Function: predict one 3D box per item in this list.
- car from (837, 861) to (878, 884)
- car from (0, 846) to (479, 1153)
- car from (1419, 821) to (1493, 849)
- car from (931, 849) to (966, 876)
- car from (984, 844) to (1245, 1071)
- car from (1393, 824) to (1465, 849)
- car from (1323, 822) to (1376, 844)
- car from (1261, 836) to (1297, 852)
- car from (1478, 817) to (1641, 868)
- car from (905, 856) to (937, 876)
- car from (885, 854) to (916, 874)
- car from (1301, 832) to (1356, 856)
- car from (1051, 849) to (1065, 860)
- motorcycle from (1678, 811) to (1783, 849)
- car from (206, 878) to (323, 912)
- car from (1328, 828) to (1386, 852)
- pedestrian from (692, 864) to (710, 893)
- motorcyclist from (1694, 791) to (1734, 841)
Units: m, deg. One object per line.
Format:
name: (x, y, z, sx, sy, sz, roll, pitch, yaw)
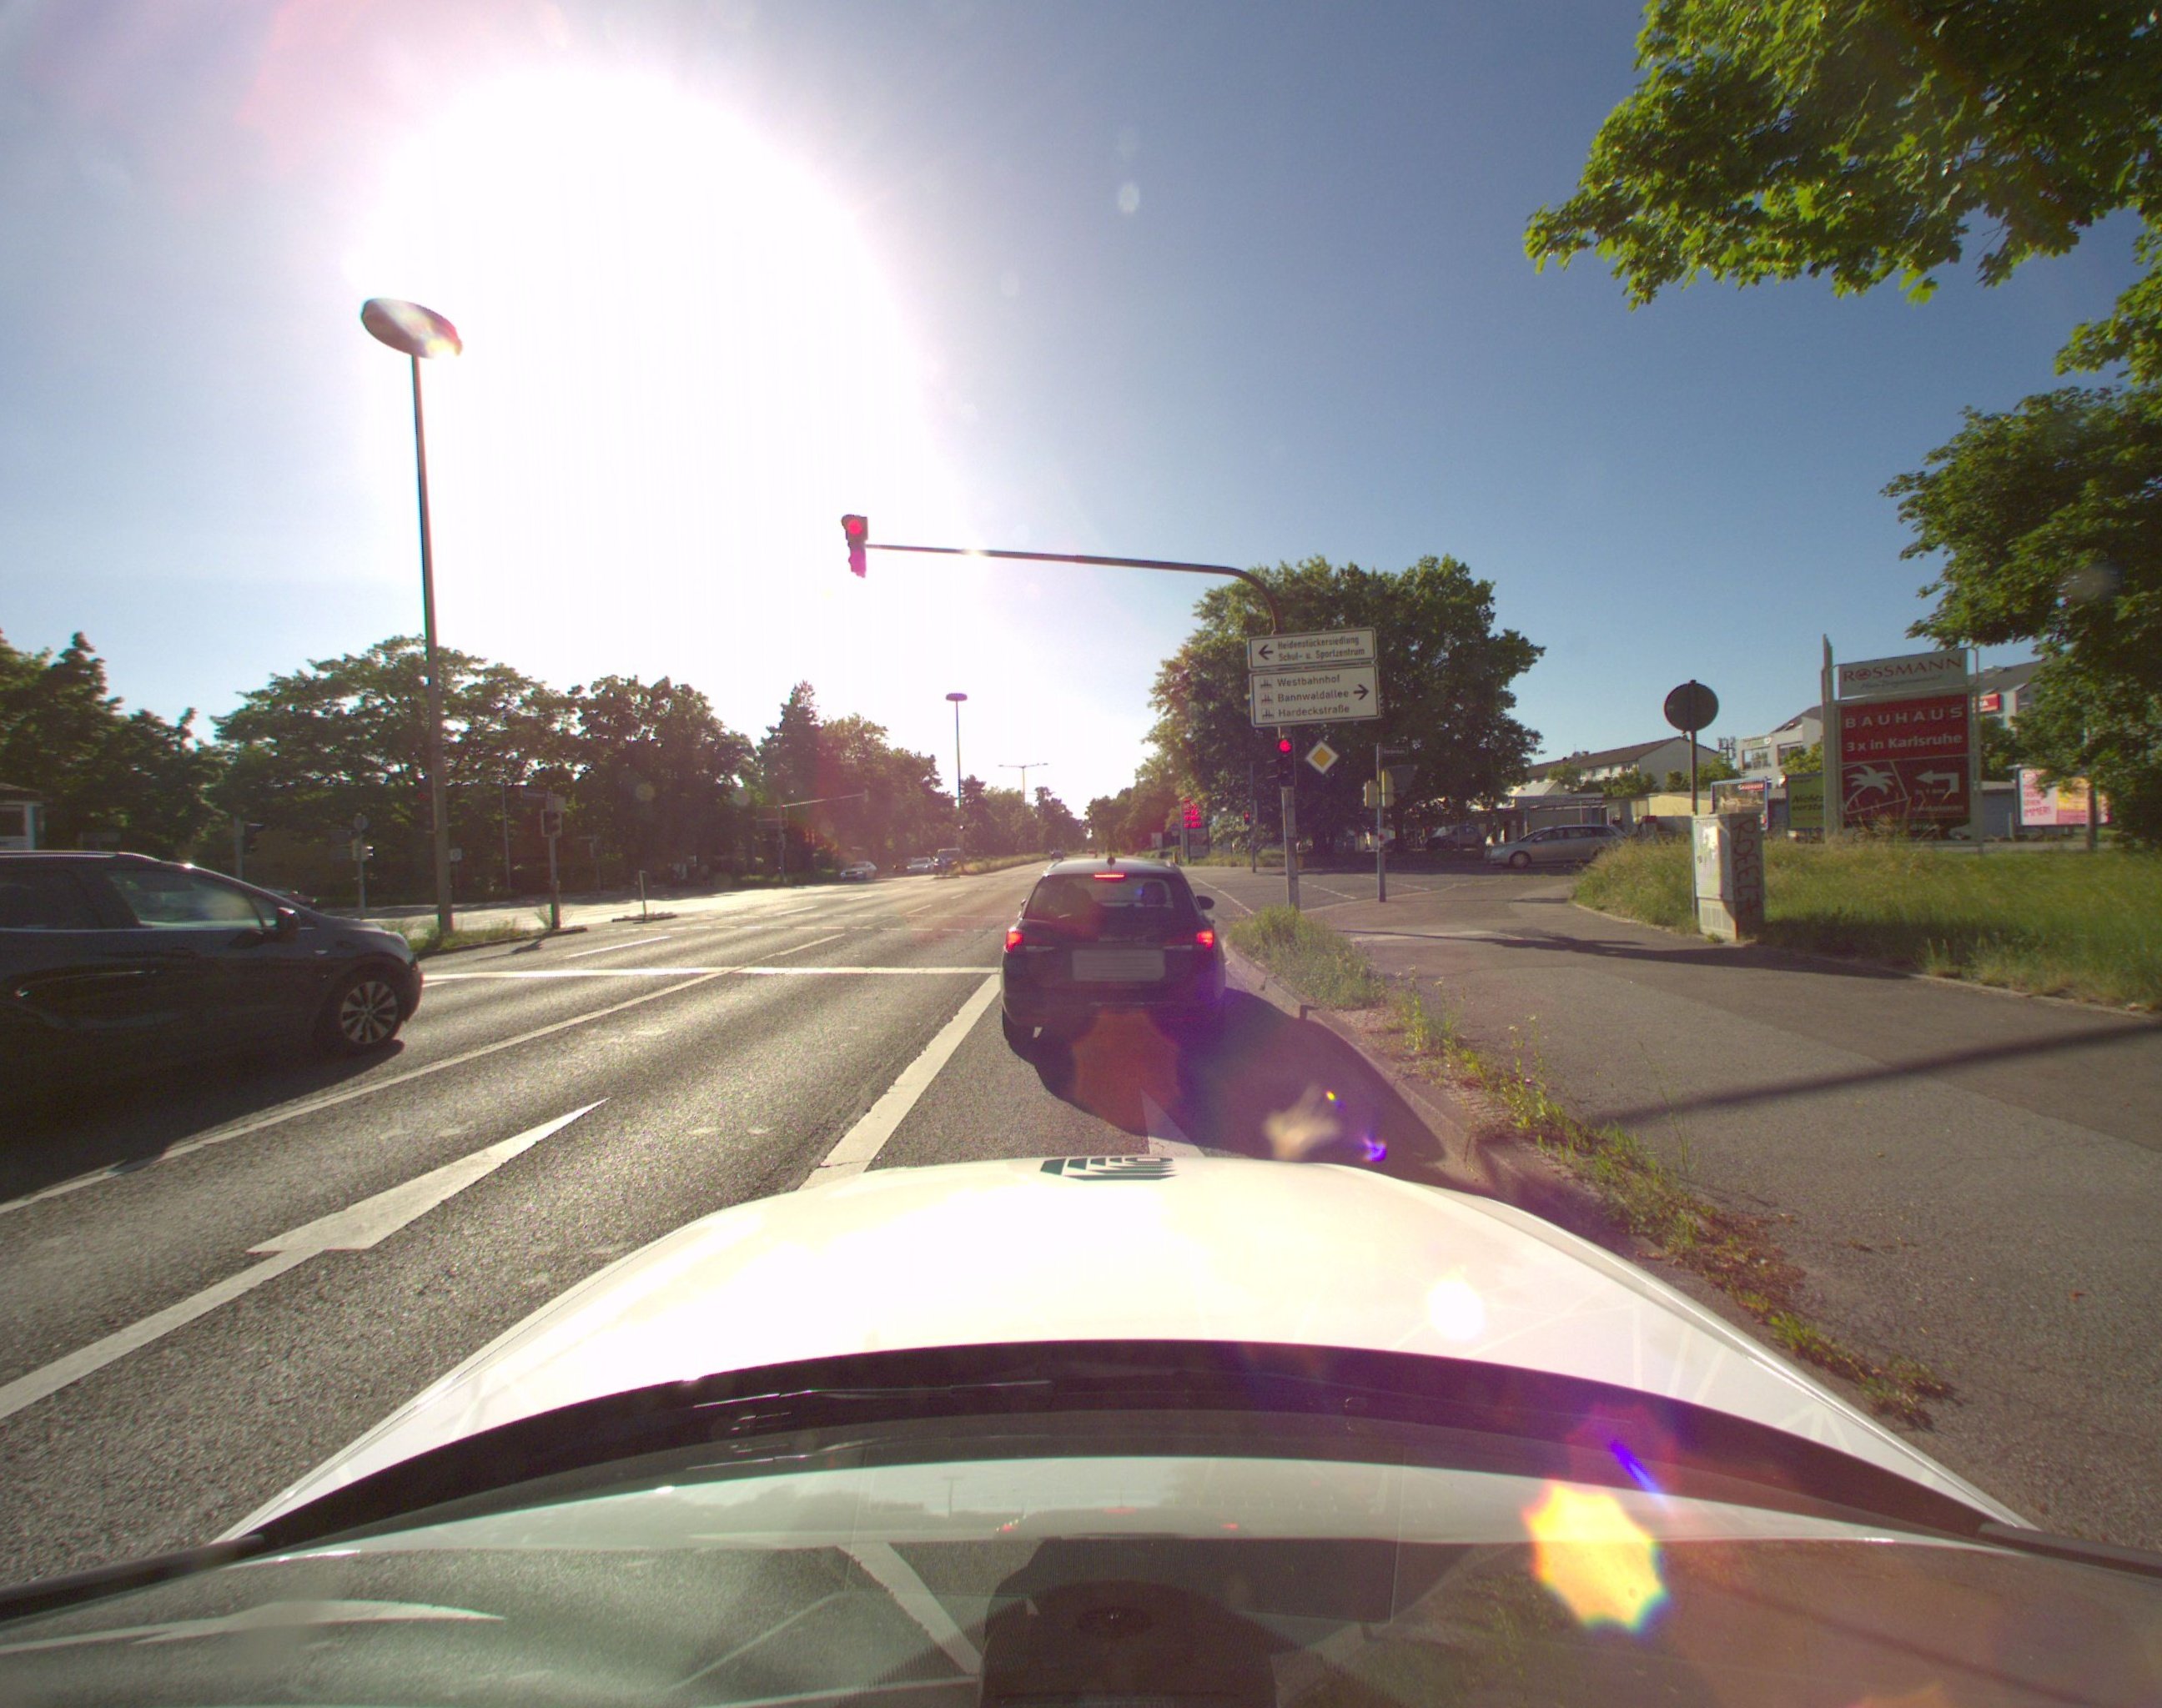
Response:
car: (-17.268, 1.391, 63.193, 1.857, 1.684, 4.262, 0, 0, 2)
car: (-6.580, 0.802, 5.431, 1.689, 1.632, 4.419, -2, 0, 2)
car: (22.191, -1.100, 48.211, 3.846, 1.612, 1.794, 0, 0, -18)
car: (-10.204, 0.646, 63.007, 1.986, 2.014, 4.001, 0, 0, 2)
car: (0.279, 0.718, 7.476, 1.749, 1.509, 3.810, -1, 0, 1)
car: (21.418, -1.059, 50.134, 3.846, 1.482, 1.794, 0, 0, -18)
car: (21.574, -1.656, 65.463, 3.701, 1.685, 1.703, 0, 0, -1)
car: (22.409, -1.122, 92.133, 3.701, 1.685, 1.703, 0, 0, -1)
car: (16.958, -0.376, 29.127, 4.586, 1.574, 2.007, -2, -1, 13)
car: (-13.916, 1.005, 71.076, 1.857, 1.684, 4.002, 0, 0, 2)
car: (-17.761, 0.939, 80.475, 1.986, 1.750, 4.002, -3, 0, 2)
car: (18.132, -0.701, 59.626, 3.729, 1.685, 1.690, 0, -1, -25)
car: (-3.489, 0.066, 124.811, 1.881, 1.552, 4.001, -2, 0, 2)
motorcycle: (22.313, -0.812, 28.024, 2.703, 1.270, 0.838, 0, -1, 17)
car: (-36.814, 1.825, 36.754, 3.892, 1.423, 1.876, 0, 0, 12)
car: (19.389, -0.960, 57.165, 3.860, 1.563, 1.787, 0, -1, -31)
pedestrian: (-25.214, 1.623, 54.045, 0.842, 1.835, 0.550, -3, 0, 5)
motorcyclist: (21.853, -1.284, 28.145, 0.853, 1.680, 0.838, 0, -1, 18)
